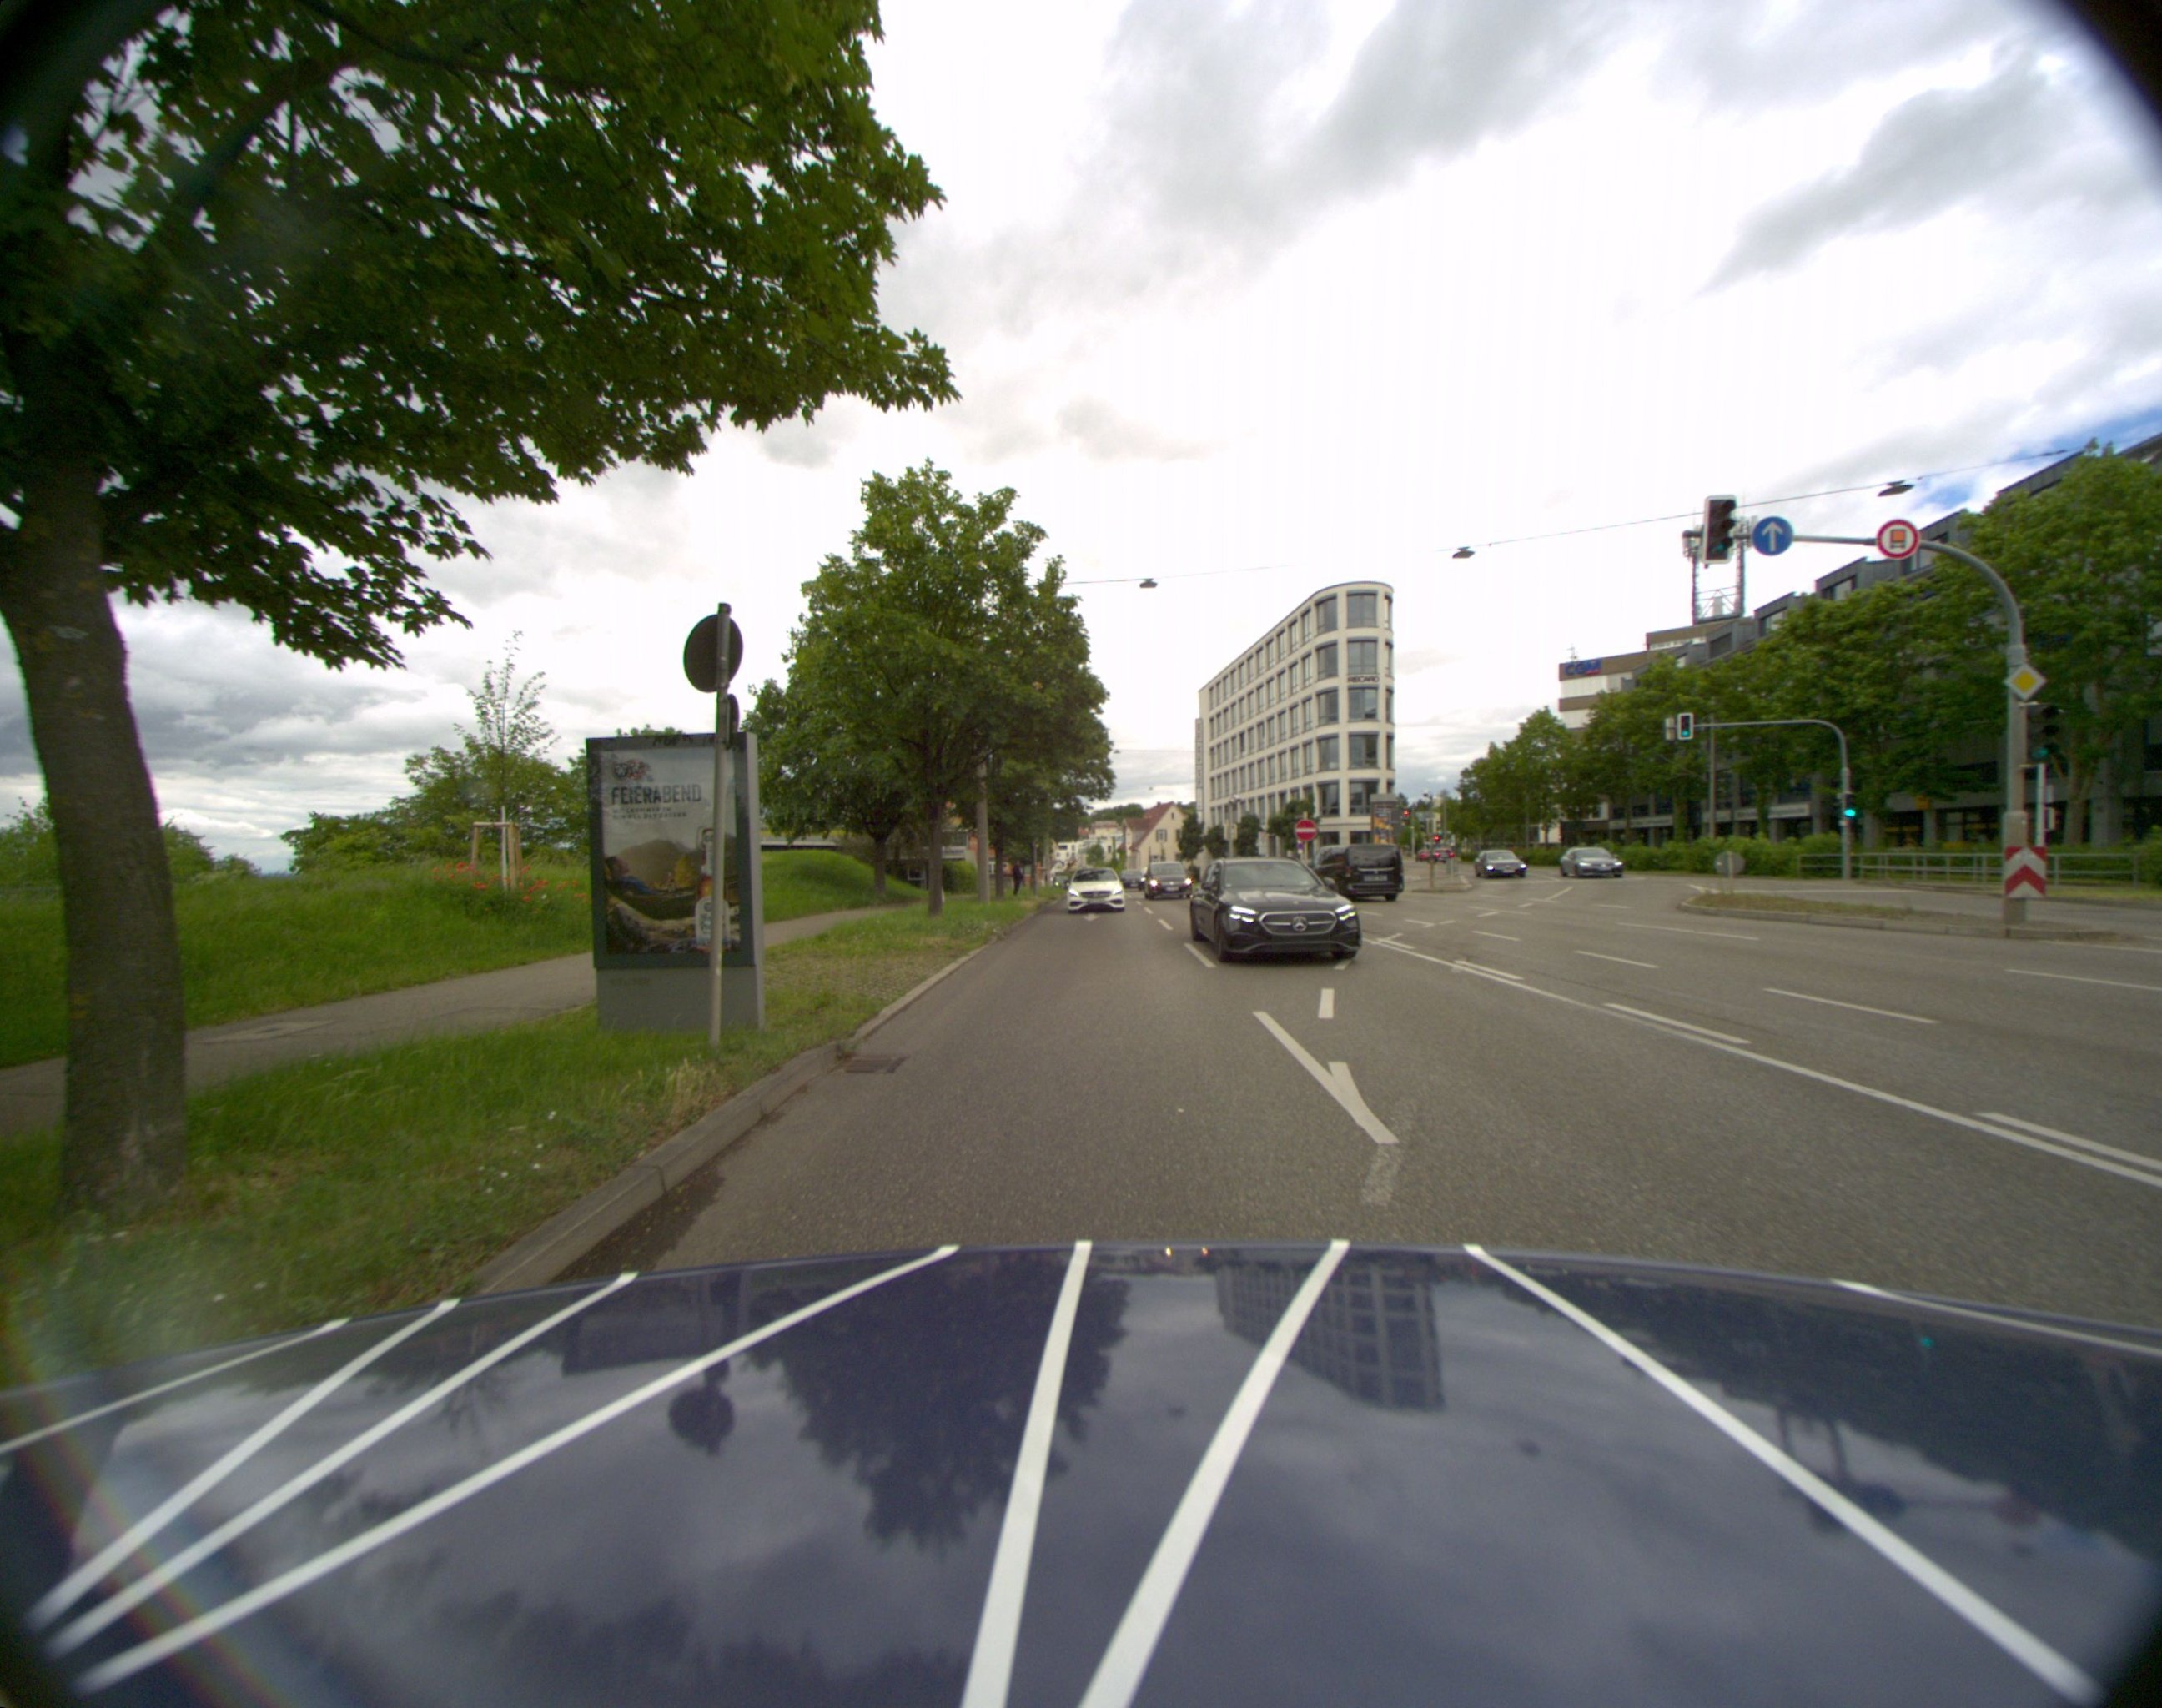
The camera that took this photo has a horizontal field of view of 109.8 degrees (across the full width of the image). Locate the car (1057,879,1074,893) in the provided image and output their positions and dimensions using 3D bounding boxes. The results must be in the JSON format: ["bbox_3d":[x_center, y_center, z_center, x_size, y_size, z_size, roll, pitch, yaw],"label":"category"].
[{"bbox_3d":[-1.944,4.050,95.984,1.713,1.679,3.791,-1,-1,-7],"label":"car"}]

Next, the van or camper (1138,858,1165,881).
[{"bbox_3d":[6.611,1.458,71.756,1.999,2.001,4.449,-1,-1,-2],"label":"van or camper"}]

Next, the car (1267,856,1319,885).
[{"bbox_3d":[11.708,0.912,42.142,1.755,1.455,4.000,-2,0,0],"label":"car"}]

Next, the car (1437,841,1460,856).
[{"bbox_3d":[41.048,-0.646,84.915,1.715,1.454,4.446,-4,0,20],"label":"car"}]

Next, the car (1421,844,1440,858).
[{"bbox_3d":[42.729,-0.389,92.989,1.715,1.454,4.446,-4,0,20],"label":"car"}]

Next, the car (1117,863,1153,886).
[{"bbox_3d":[3.800,1.463,54.085,1.879,1.520,4.000,-1,-3,-6],"label":"car"}]

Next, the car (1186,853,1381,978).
[{"bbox_3d":[2.847,0.773,11.731,1.878,1.521,4.335,-2,0,1],"label":"car"}]

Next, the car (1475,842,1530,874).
[{"bbox_3d":[22.228,0.167,40.213,1.778,1.454,4.446,-4,0,20],"label":"car"}]

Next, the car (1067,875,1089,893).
[{"bbox_3d":[-0.352,2.940,75.136,1.713,1.679,3.791,-1,-1,-7],"label":"car"}]

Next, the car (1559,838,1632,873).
[{"bbox_3d":[24.503,0.068,36.374,1.778,1.454,4.447,-4,-1,20],"label":"car"}]

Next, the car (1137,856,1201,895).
[{"bbox_3d":[3.719,0.971,32.799,1.879,1.520,4.000,-1,-3,-6],"label":"car"}]

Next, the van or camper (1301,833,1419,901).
[{"bbox_3d":[8.951,0.379,24.928,1.931,1.926,5.248,-2,0,0],"label":"van or camper"}]

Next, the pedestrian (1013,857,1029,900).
[{"bbox_3d":[-2.627,1.077,33.149,0.644,1.844,0.673,-1,-1,-4],"label":"pedestrian"}]

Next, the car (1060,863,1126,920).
[{"bbox_3d":[0.455,1.134,23.928,1.809,1.520,4.002,-4,-1,3],"label":"car"}]
